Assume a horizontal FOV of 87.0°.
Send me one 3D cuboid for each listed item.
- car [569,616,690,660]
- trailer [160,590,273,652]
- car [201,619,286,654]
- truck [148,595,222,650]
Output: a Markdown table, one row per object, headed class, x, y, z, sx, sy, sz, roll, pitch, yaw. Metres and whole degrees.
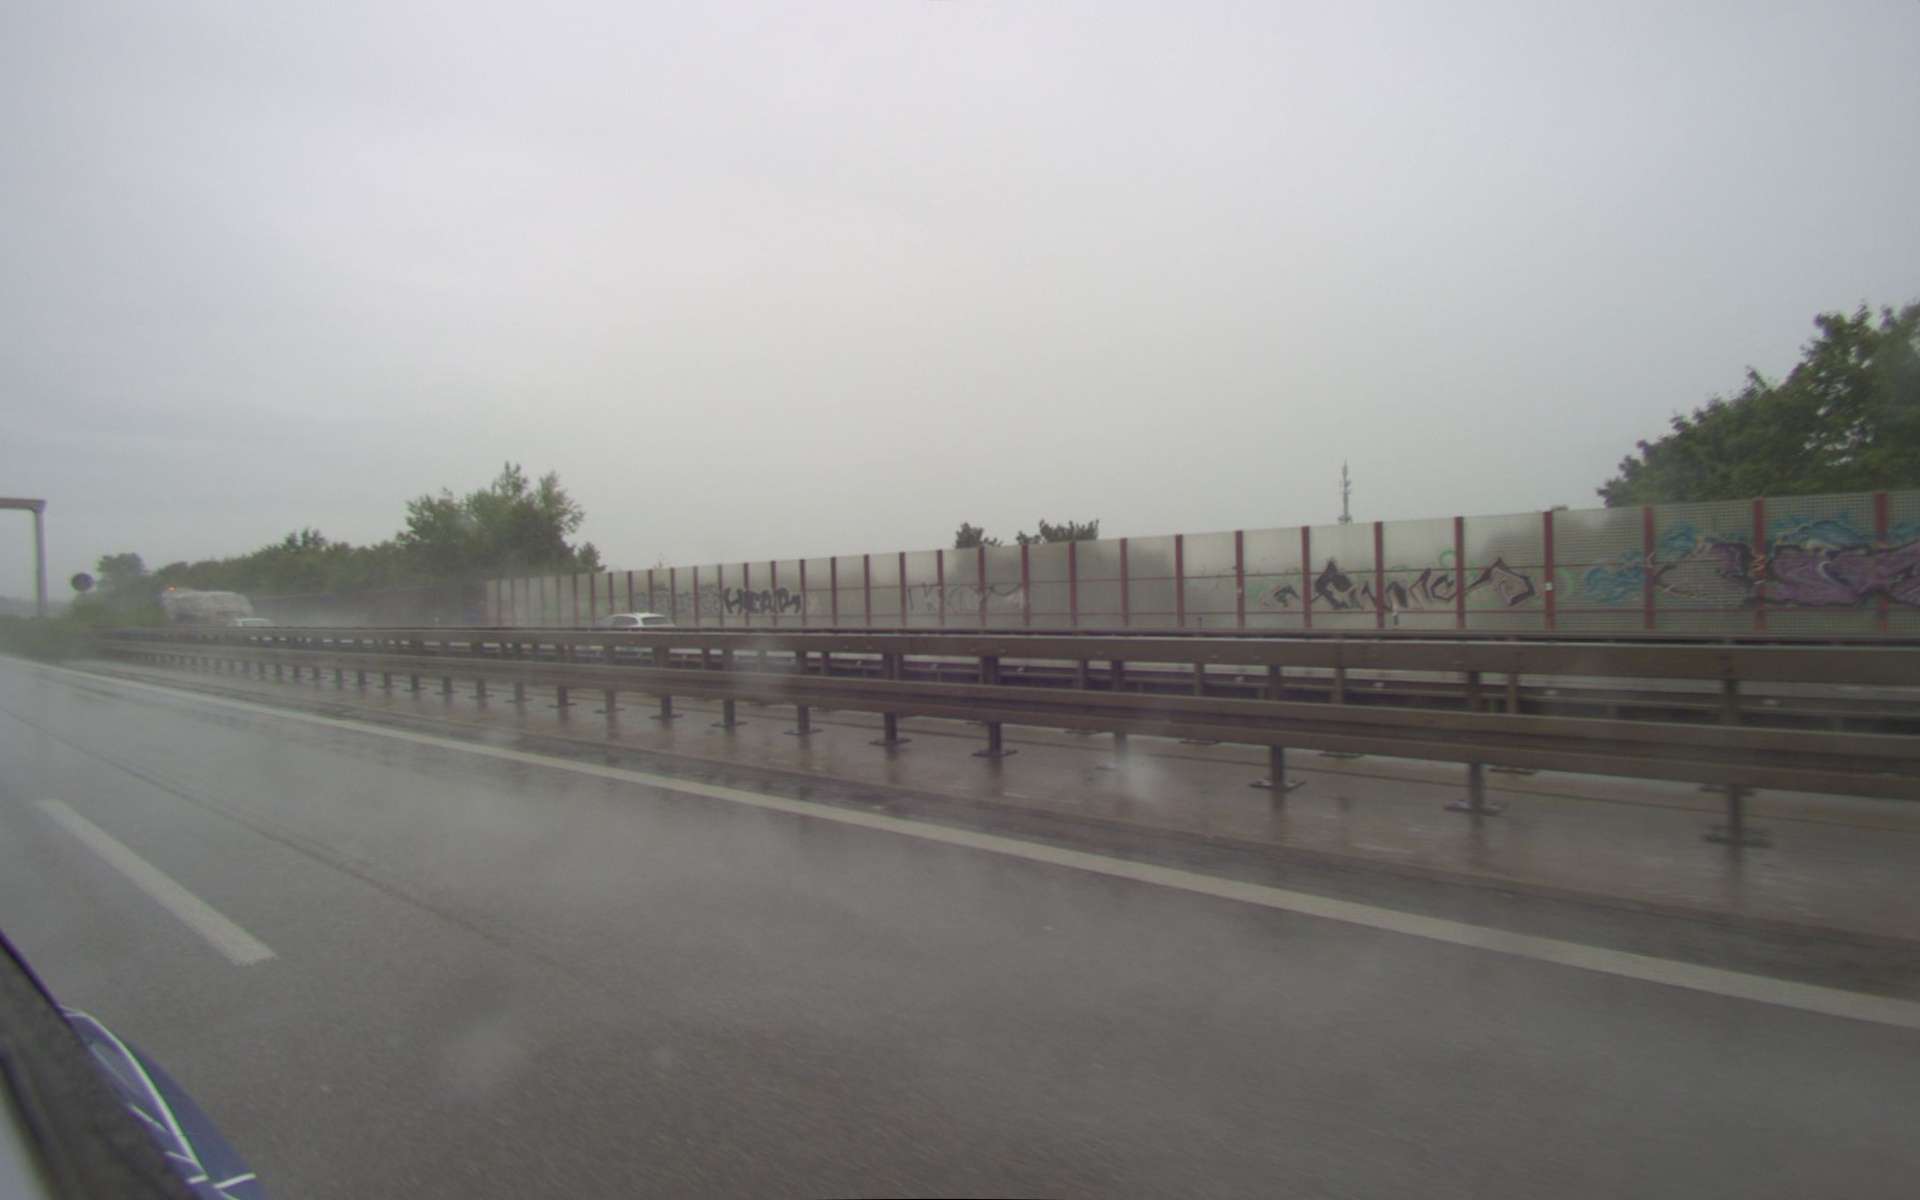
| class | x | y | z | sx | sy | sz | roll | pitch | yaw |
| --- | --- | --- | --- | --- | --- | --- | --- | --- | --- |
| car | -12.323 | 1.388 | 37.601 | 4.719 | 1.483 | 1.966 | -2 | -1 | 38 |
| trailer | -47.949 | 1.384 | 65.013 | 13.564 | 3.640 | 3.040 | -2 | -1 | 41 |
| car | -32.571 | 1.634 | 45.953 | 4.721 | 1.483 | 1.965 | -2 | -1 | 39 |
| truck | -53.556 | 1.557 | 69.930 | 5.997 | 3.627 | 2.951 | -2 | -1 | 41 |
